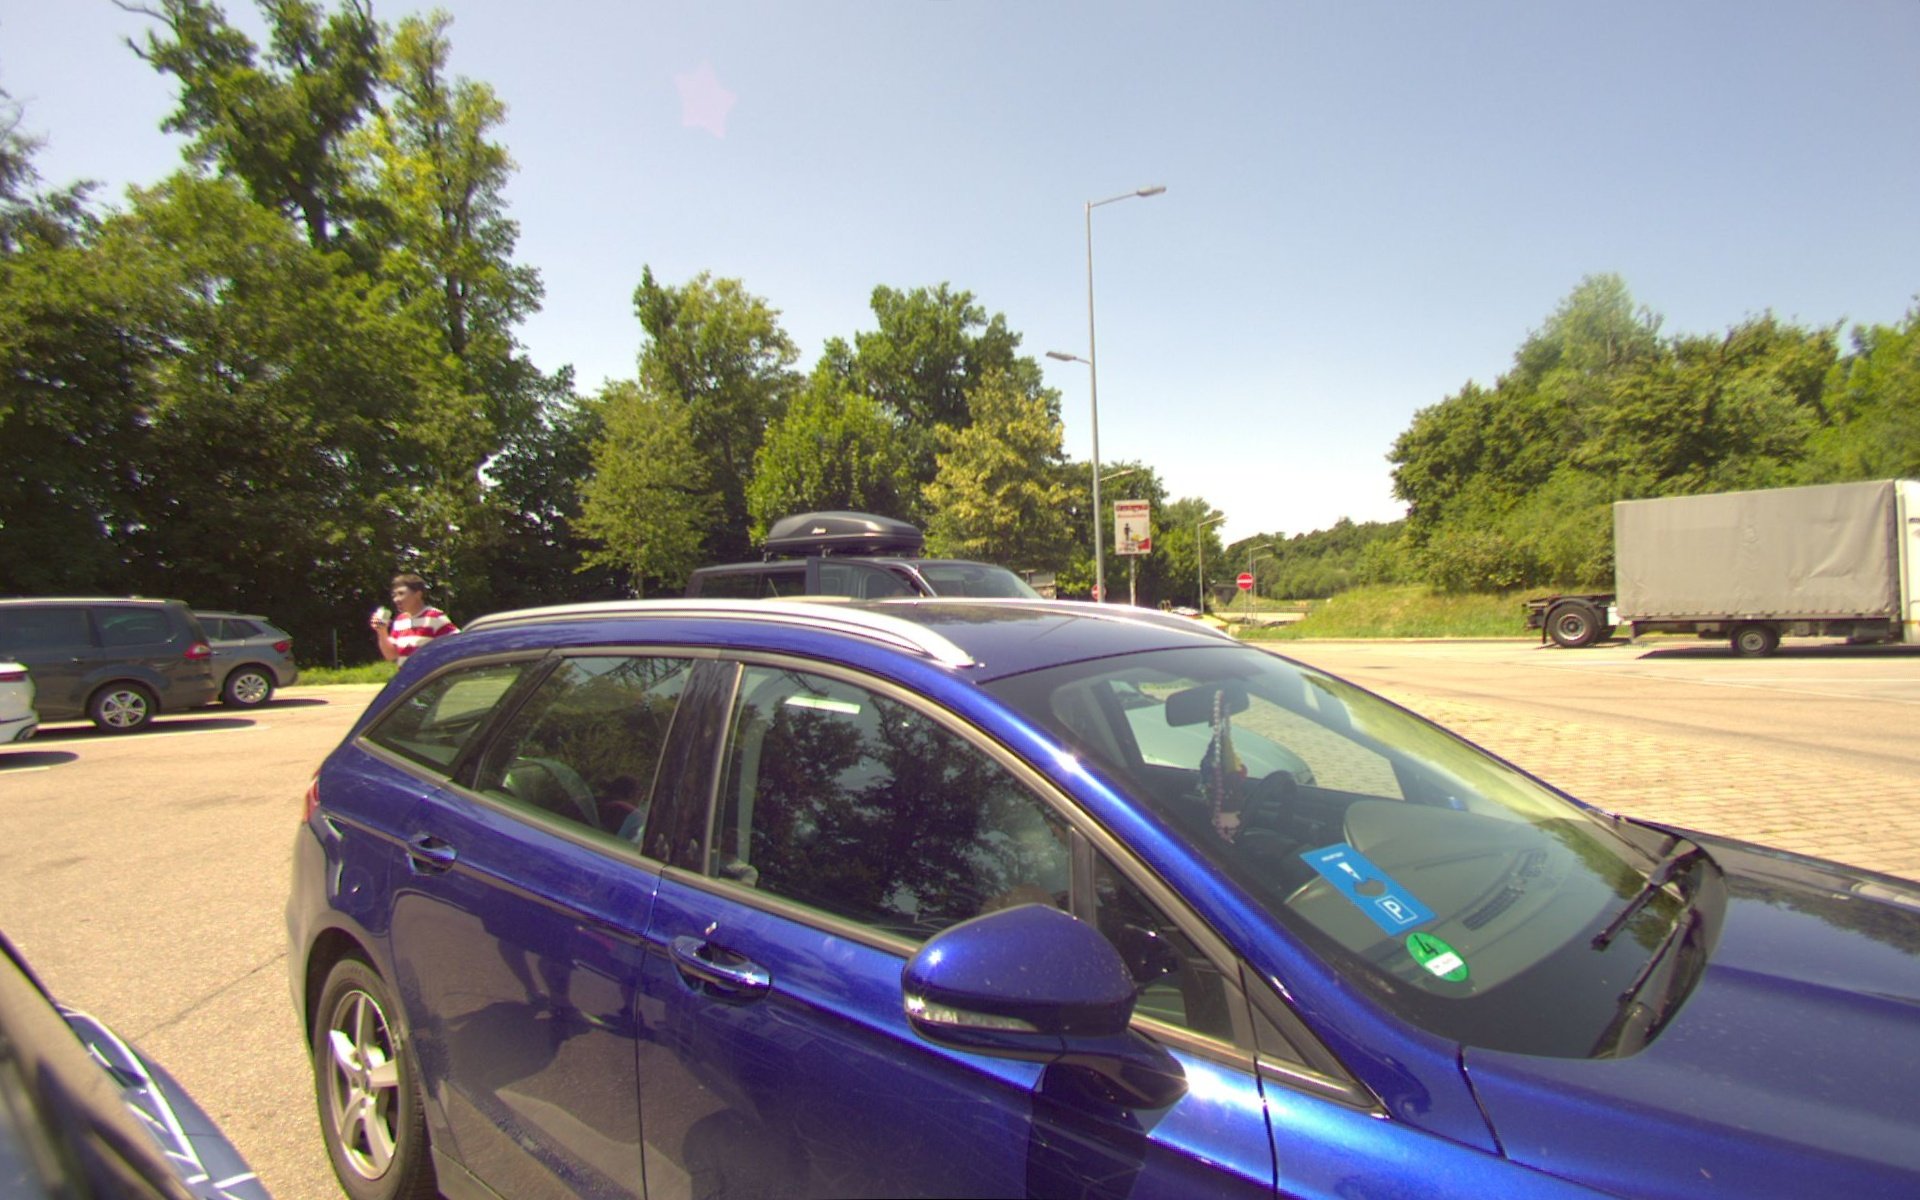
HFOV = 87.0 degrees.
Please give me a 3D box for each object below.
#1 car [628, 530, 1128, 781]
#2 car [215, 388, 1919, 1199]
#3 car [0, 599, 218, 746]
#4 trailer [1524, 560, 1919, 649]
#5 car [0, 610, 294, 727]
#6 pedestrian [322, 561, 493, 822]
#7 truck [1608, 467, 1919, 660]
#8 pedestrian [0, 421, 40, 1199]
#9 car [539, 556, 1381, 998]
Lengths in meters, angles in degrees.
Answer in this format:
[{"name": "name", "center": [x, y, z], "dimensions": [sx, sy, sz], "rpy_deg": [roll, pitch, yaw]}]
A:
[{"name": "car", "center": [-0.898, 0.497, 9.653], "dimensions": [4.558, 1.912, 1.740], "rpy_deg": [-3, 0, 32]}, {"name": "car", "center": [0.227, 0.633, 2.068], "dimensions": [4.569, 1.482, 1.735], "rpy_deg": [-3, 0, 40]}, {"name": "car", "center": [-11.637, 0.866, 12.651], "dimensions": [3.767, 1.708, 1.654], "rpy_deg": [-1, 0, -38]}, {"name": "trailer", "center": [17.700, 0.154, 23.103], "dimensions": [8.098, 1.638, 2.187], "rpy_deg": [-4, -1, 41]}, {"name": "car", "center": [-12.629, 0.970, 15.658], "dimensions": [3.767, 1.572, 1.654], "rpy_deg": [-1, 0, -38]}, {"name": "pedestrian", "center": [-3.990, 0.620, 7.344], "dimensions": [0.750, 1.767, 0.780], "rpy_deg": [-1, 0, 21]}, {"name": "truck", "center": [16.775, -0.651, 19.006], "dimensions": [7.274, 3.269, 2.678], "rpy_deg": [-4, -1, 42]}, {"name": "pedestrian", "center": [-2.734, 0.520, 2.237], "dimensions": [0.905, 1.919, 0.816], "rpy_deg": [-1, 0, -33]}, {"name": "car", "center": [-0.328, 0.668, 5.605], "dimensions": [4.569, 1.517, 1.735], "rpy_deg": [-3, 0, 40]}]
